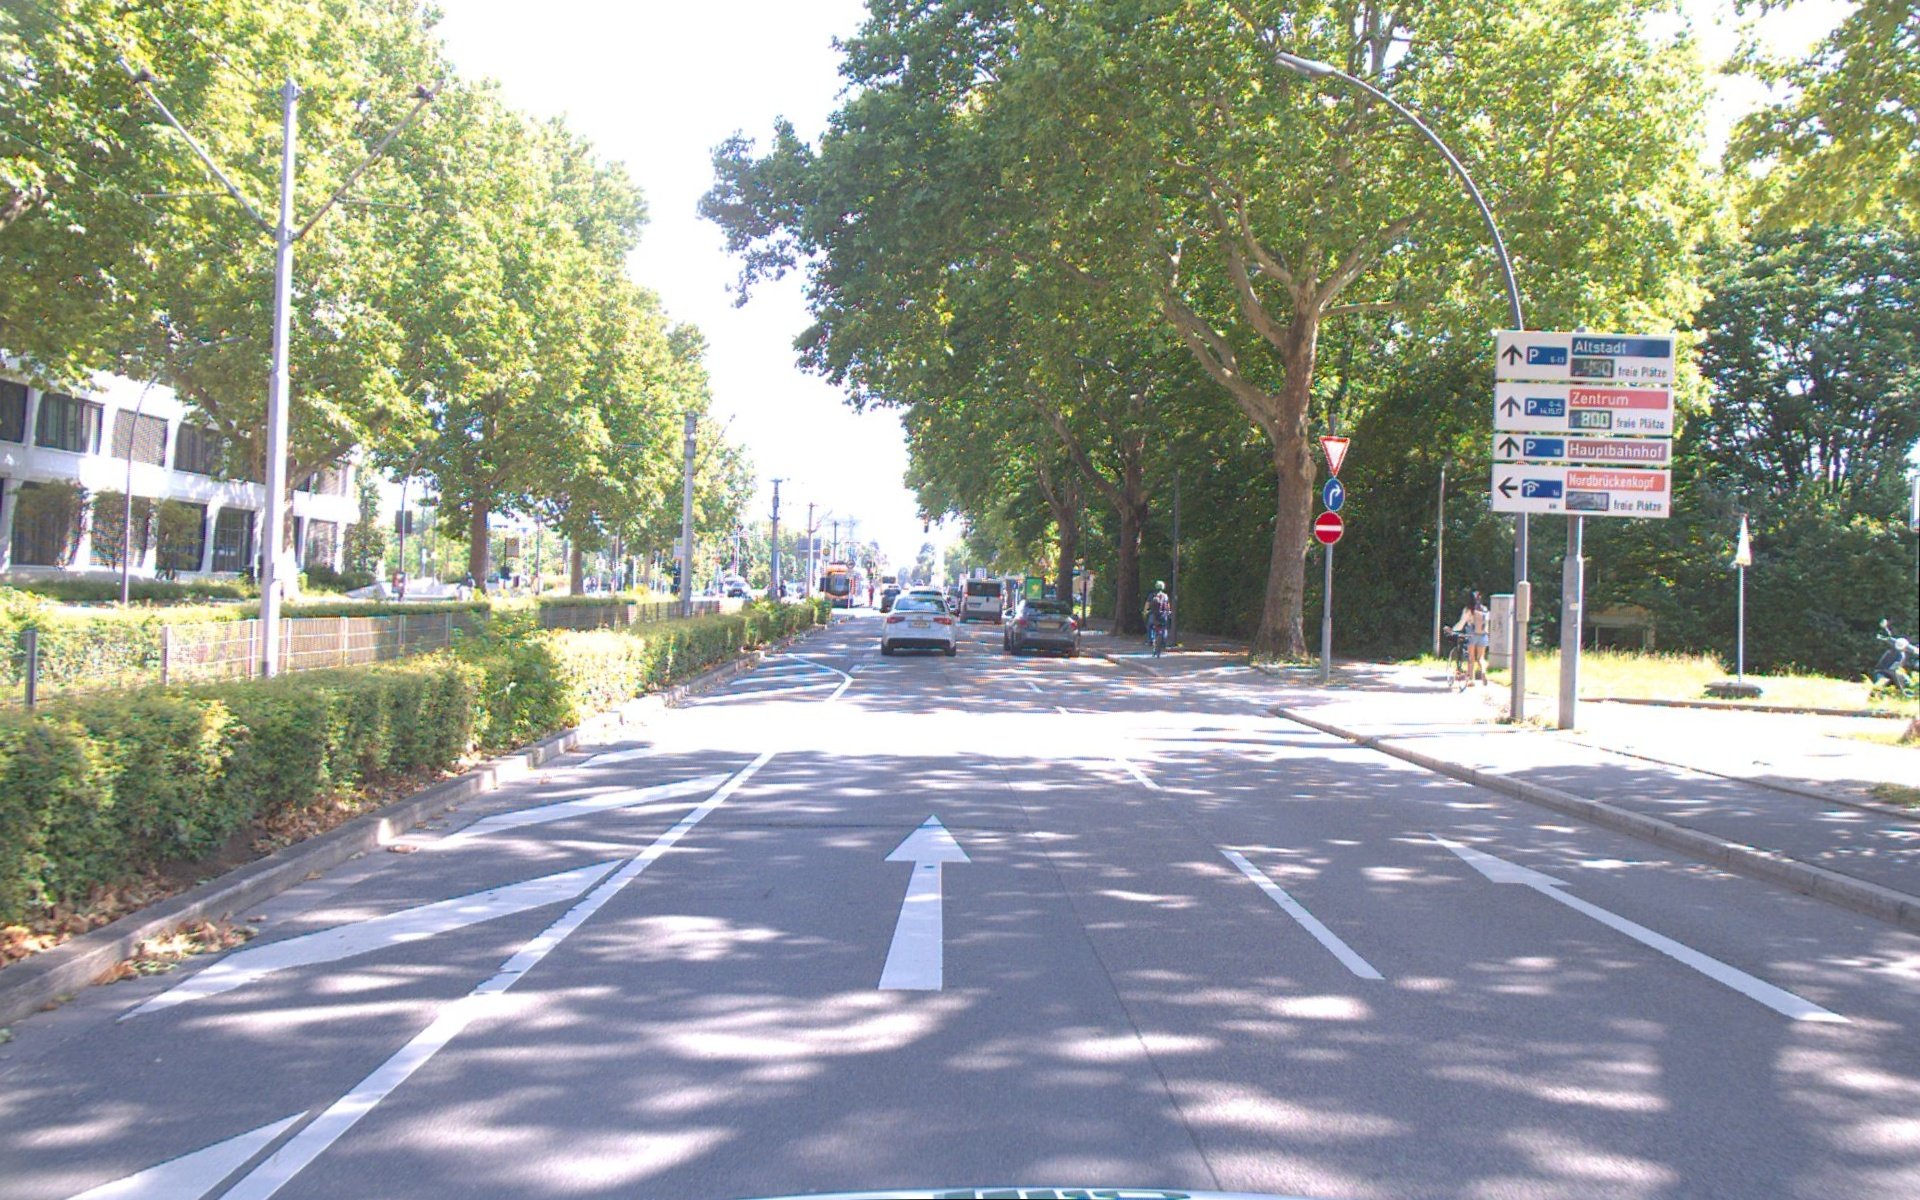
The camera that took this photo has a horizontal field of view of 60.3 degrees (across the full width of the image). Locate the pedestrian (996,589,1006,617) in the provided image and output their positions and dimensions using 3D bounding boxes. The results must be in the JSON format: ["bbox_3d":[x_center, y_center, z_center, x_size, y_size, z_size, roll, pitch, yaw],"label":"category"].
[{"bbox_3d":[2.864,0.210,114.877,0.622,1.980,0.719,2,0,-1],"label":"pedestrian"}]

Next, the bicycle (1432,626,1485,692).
[{"bbox_3d":[8.842,1.028,29.370,0.342,1.101,1.698,2,0,-2],"label":"bicycle"}]

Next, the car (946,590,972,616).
[{"bbox_3d":[-0.120,0.234,139.032,2.030,2.034,4.057,2,0,-1],"label":"car"}]

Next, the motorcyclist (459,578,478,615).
[{"bbox_3d":[-20.137,-0.131,67.753,0.569,1.482,0.533,2,0,-2],"label":"motorcyclist"}]

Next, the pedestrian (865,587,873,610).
[{"bbox_3d":[-7.964,-0.120,144.678,0.611,1.951,0.689,2,0,-1],"label":"pedestrian"}]

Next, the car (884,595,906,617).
[{"bbox_3d":[-5.231,0.500,133.655,1.694,1.659,3.999,2,0,-1],"label":"car"}]

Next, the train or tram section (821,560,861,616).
[{"bbox_3d":[-9.226,-0.903,128.863,2.563,4.085,7.747,2,0,-1],"label":"train or tram section"}]

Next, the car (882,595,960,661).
[{"bbox_3d":[-0.928,0.647,39.884,1.748,1.445,3.884,2,0,-1],"label":"car"}]

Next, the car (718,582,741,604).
[{"bbox_3d":[-26.246,-0.838,188.403,2.071,2.424,3.999,2,0,-1],"label":"car"}]

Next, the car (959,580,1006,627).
[{"bbox_3d":[1.104,0.186,83.854,2.185,2.250,4.161,2,0,-1],"label":"car"}]

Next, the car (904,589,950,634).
[{"bbox_3d":[-1.273,0.421,64.032,1.694,1.633,3.884,2,0,-1],"label":"car"}]

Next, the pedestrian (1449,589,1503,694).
[{"bbox_3d":[9.208,0.728,29.551,0.619,1.816,0.874,2,0,-2],"label":"pedestrian"}]

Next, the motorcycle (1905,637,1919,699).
[{"bbox_3d":[15.997,1.108,26.741,1.196,0.984,0.470,2,0,-8],"label":"motorcycle"}]

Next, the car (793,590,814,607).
[{"bbox_3d":[-17.450,-0.156,184.520,1.953,1.764,3.999,2,0,-1],"label":"car"}]

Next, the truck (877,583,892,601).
[{"bbox_3d":[-11.860,-1.231,260.432,1.953,2.839,8.517,2,0,-1],"label":"truck"}]

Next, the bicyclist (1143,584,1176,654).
[{"bbox_3d":[4.889,0.455,40.563,0.621,1.676,0.979,-1,1,-2],"label":"bicyclist"}]

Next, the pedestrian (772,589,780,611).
[{"bbox_3d":[-14.269,0.013,128.272,0.581,1.675,0.554,2,0,-1],"label":"pedestrian"}]

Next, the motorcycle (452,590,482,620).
[{"bbox_3d":[-20.155,0.182,67.688,0.619,1.195,1.999,2,0,-1],"label":"motorcycle"}]

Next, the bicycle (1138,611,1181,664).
[{"bbox_3d":[4.887,0.905,40.591,0.700,1.168,2.178,-1,2,-2],"label":"bicycle"}]

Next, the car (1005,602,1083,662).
[{"bbox_3d":[2.161,0.809,43.480,1.746,1.445,3.999,2,0,-1],"label":"car"}]

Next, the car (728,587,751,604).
[{"bbox_3d":[-22.823,-0.453,171.462,1.793,1.652,4.895,2,0,-1],"label":"car"}]

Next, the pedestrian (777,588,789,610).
[{"bbox_3d":[-14.425,-0.078,134.855,0.758,1.764,0.755,2,0,7],"label":"pedestrian"}]
